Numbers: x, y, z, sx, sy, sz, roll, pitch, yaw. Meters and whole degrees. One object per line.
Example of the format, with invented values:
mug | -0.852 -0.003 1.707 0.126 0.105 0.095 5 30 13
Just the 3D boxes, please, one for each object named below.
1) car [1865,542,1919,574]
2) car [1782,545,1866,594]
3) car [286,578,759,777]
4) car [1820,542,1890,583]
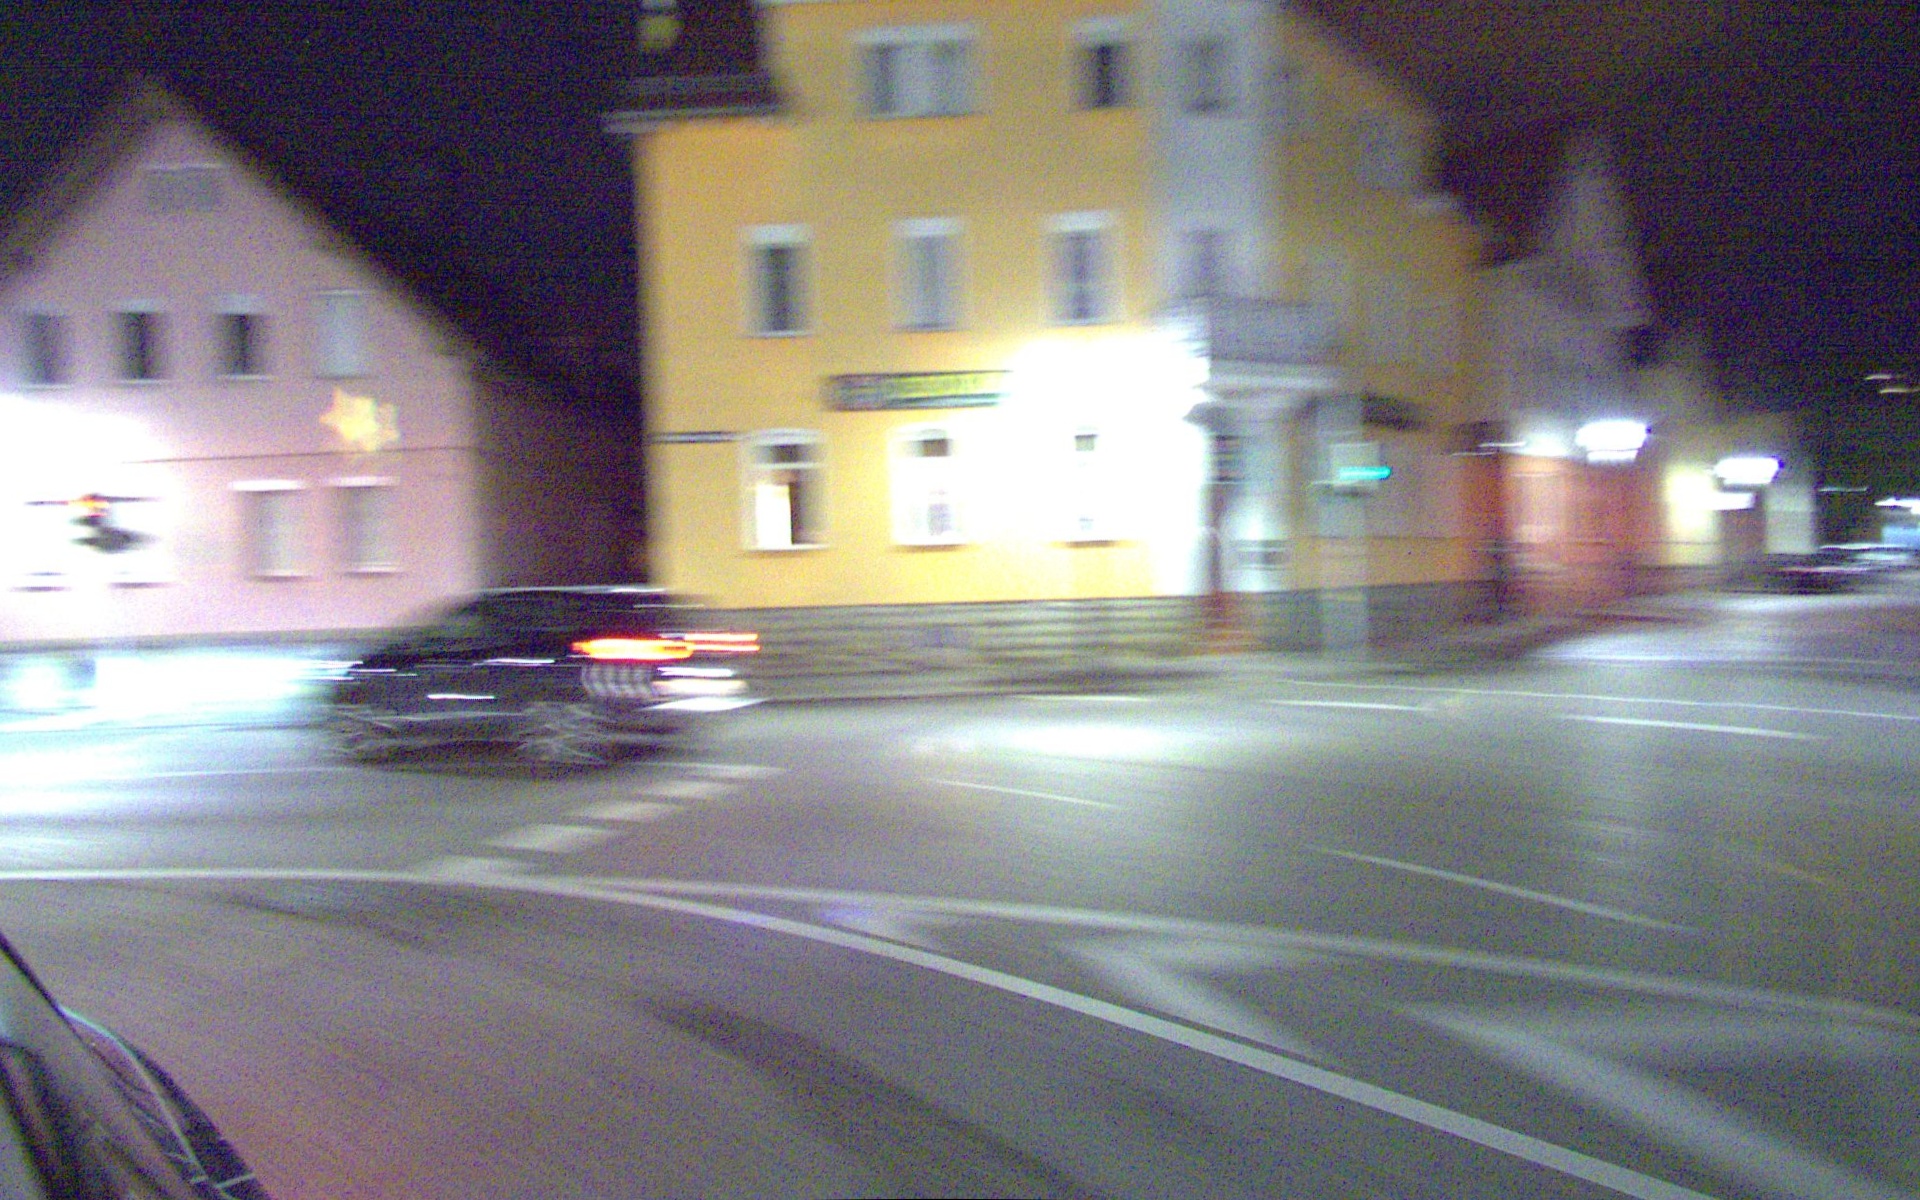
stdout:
car | 47.826 -2.153 51.715 3.940 1.530 2.002 -3 1 -43
car | 29.502 -1.054 34.520 3.940 1.530 1.737 -3 1 -43
car | -4.229 0.679 9.772 4.215 1.597 1.729 -2 1 23
car | 36.376 -1.519 41.106 3.940 1.530 1.713 -3 1 -43
